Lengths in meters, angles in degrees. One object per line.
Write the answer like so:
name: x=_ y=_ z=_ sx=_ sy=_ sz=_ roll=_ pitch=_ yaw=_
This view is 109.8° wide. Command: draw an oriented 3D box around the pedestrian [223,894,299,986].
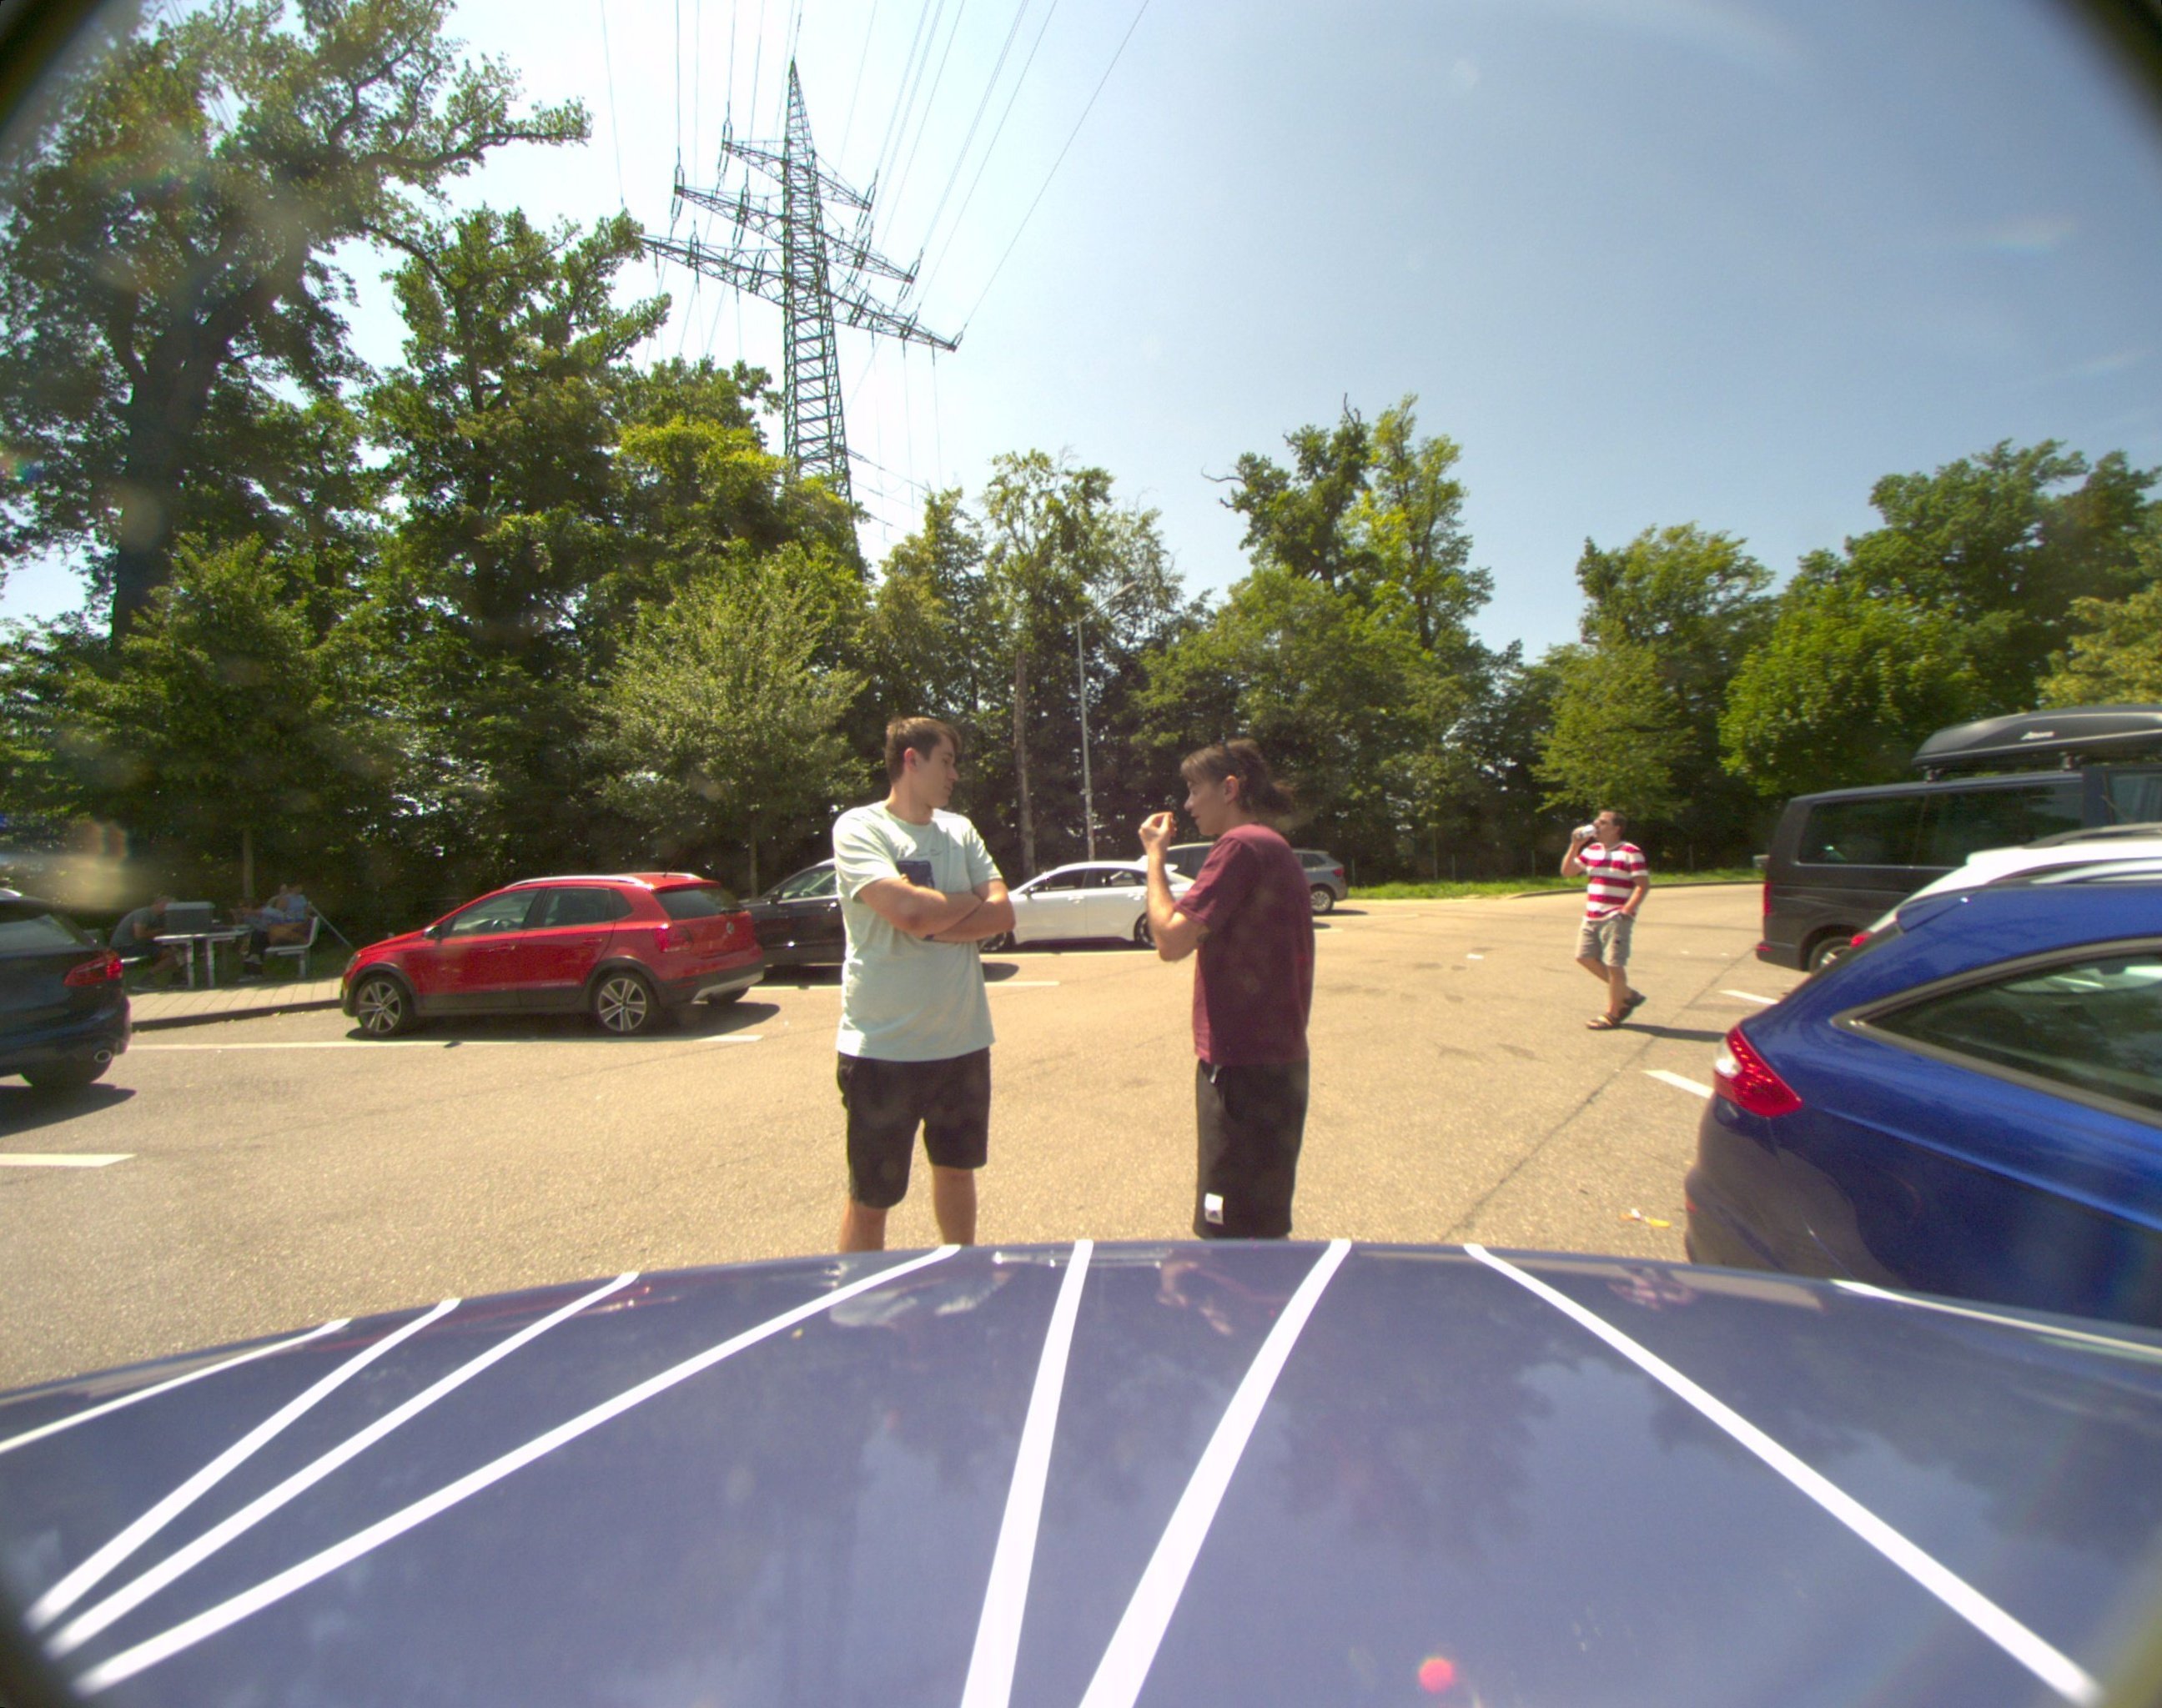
pedestrian: x=-11.862 y=1.222 z=11.009 sx=0.595 sy=1.238 sz=0.499 roll=-3 pitch=1 yaw=-33

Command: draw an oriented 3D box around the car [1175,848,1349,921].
car: x=4.266 y=0.705 z=18.174 sx=3.822 sy=1.551 sz=1.652 roll=-2 pitch=1 yaw=12

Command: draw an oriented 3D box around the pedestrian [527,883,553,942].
pedestrian: x=-11.009 y=1.180 z=15.461 sx=0.357 sy=1.158 sz=0.384 roll=-3 pitch=2 yaw=-41

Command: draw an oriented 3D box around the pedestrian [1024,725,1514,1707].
pedestrian: x=0.467 y=0.714 z=1.952 sx=0.919 sy=1.894 sz=0.815 roll=-2 pitch=1 yaw=16

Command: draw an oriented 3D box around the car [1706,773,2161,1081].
car: x=7.374 y=0.415 z=5.306 sx=1.758 sy=1.886 sz=4.571 roll=-3 pitch=-1 yaw=-9

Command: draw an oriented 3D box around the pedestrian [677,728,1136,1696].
pedestrian: x=-0.497 y=0.717 z=2.119 sx=0.815 sy=1.939 sz=0.918 roll=-3 pitch=2 yaw=-43

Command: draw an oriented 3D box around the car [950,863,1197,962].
car: x=-0.075 y=0.930 z=12.697 sx=3.825 sy=1.394 sz=1.651 roll=-2 pitch=1 yaw=4

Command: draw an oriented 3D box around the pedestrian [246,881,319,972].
pedestrian: x=-14.818 y=1.330 z=14.116 sx=0.571 sy=1.596 sz=0.647 roll=-2 pitch=1 yaw=6

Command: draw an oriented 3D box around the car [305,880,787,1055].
car: x=-5.232 y=1.085 z=7.693 sx=3.823 sy=1.460 sz=1.651 roll=-2 pitch=1 yaw=8

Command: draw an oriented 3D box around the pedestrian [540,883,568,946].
pedestrian: x=-10.164 y=1.157 z=14.646 sx=0.357 sy=1.158 sz=0.384 roll=-3 pitch=2 yaw=-41

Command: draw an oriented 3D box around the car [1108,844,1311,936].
car: x=2.607 y=0.708 z=15.479 sx=3.822 sy=1.686 sz=1.652 roll=-2 pitch=1 yaw=12

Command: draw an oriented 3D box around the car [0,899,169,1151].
car: x=-9.032 y=1.166 z=5.027 sx=4.338 sy=1.544 sz=1.749 roll=-1 pitch=1 yaw=8

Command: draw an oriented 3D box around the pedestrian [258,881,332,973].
pedestrian: x=-14.244 y=1.312 z=13.780 sx=0.571 sy=1.596 sz=0.647 roll=-2 pitch=1 yaw=6

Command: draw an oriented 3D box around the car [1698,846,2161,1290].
car: x=4.646 y=0.729 z=2.275 sx=1.757 sy=1.496 sz=4.574 roll=-3 pitch=-1 yaw=-1

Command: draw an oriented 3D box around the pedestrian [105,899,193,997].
pedestrian: x=-12.729 y=1.262 z=10.395 sx=0.595 sy=1.238 sz=0.446 roll=-3 pitch=1 yaw=-33

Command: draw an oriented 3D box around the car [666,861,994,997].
car: x=-3.250 y=0.958 z=10.322 sx=3.825 sy=1.546 sz=1.651 roll=-2 pitch=1 yaw=4

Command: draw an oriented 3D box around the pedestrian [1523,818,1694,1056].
pedestrian: x=4.179 y=0.610 z=6.060 sx=0.785 sy=1.744 sz=0.754 roll=-2 pitch=1 yaw=-12
